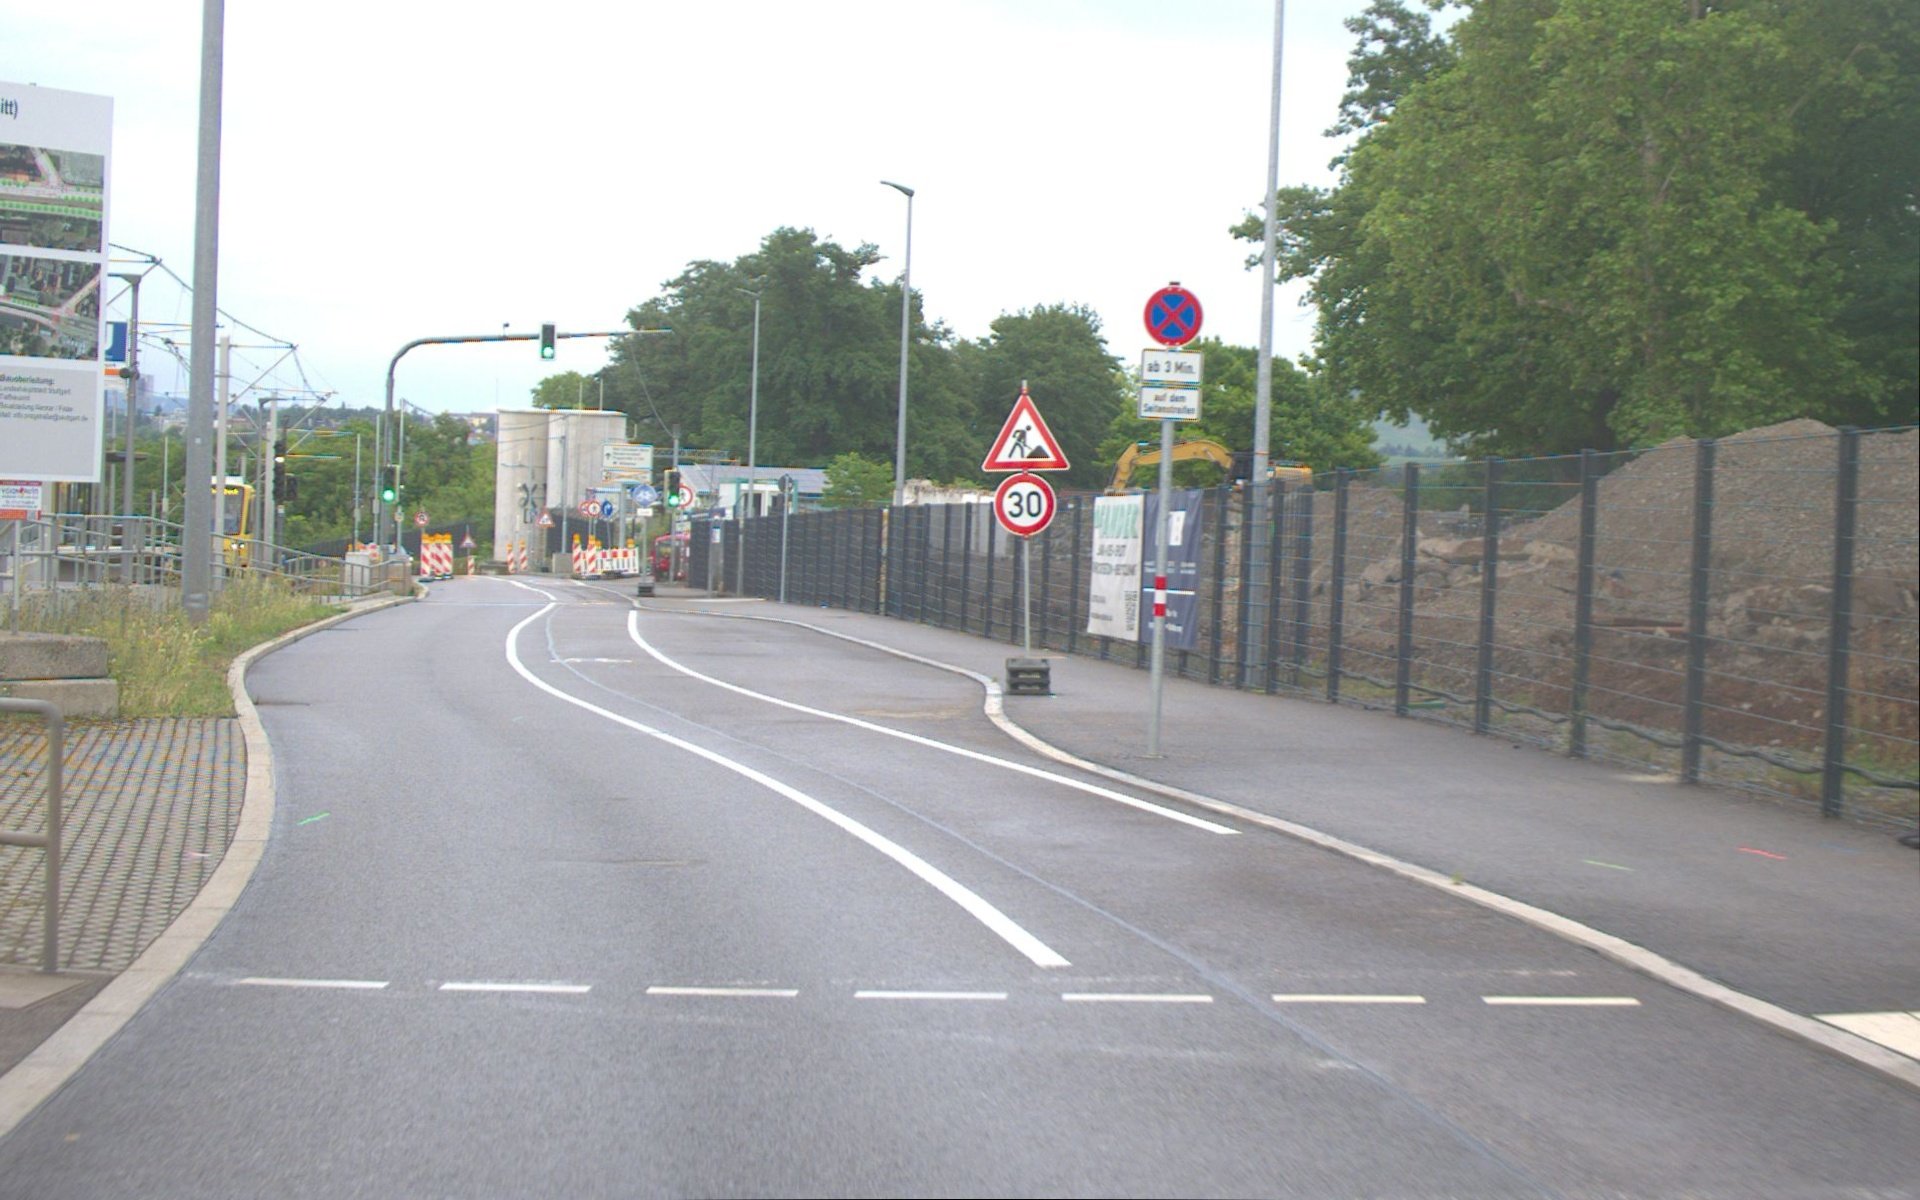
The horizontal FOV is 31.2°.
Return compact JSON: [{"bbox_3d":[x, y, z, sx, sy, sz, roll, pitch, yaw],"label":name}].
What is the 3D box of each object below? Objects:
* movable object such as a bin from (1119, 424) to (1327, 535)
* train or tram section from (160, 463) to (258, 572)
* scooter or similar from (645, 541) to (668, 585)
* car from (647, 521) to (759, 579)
[{"bbox_3d":[14.696,-6.728,192.744,11.231,5.975,3.491,1,0,-1],"label":"movable object such as a bin"},{"bbox_3d":[-29.586,-3.215,136.048,2.954,3.872,19.578,2,1,-10],"label":"train or tram section"},{"bbox_3d":[-9.340,-1.142,105.873,0.615,1.347,1.912,1,1,-3],"label":"scooter or similar"},{"bbox_3d":[-8.332,-1.614,111.813,1.821,1.787,4.404,2,1,22],"label":"car"}]
